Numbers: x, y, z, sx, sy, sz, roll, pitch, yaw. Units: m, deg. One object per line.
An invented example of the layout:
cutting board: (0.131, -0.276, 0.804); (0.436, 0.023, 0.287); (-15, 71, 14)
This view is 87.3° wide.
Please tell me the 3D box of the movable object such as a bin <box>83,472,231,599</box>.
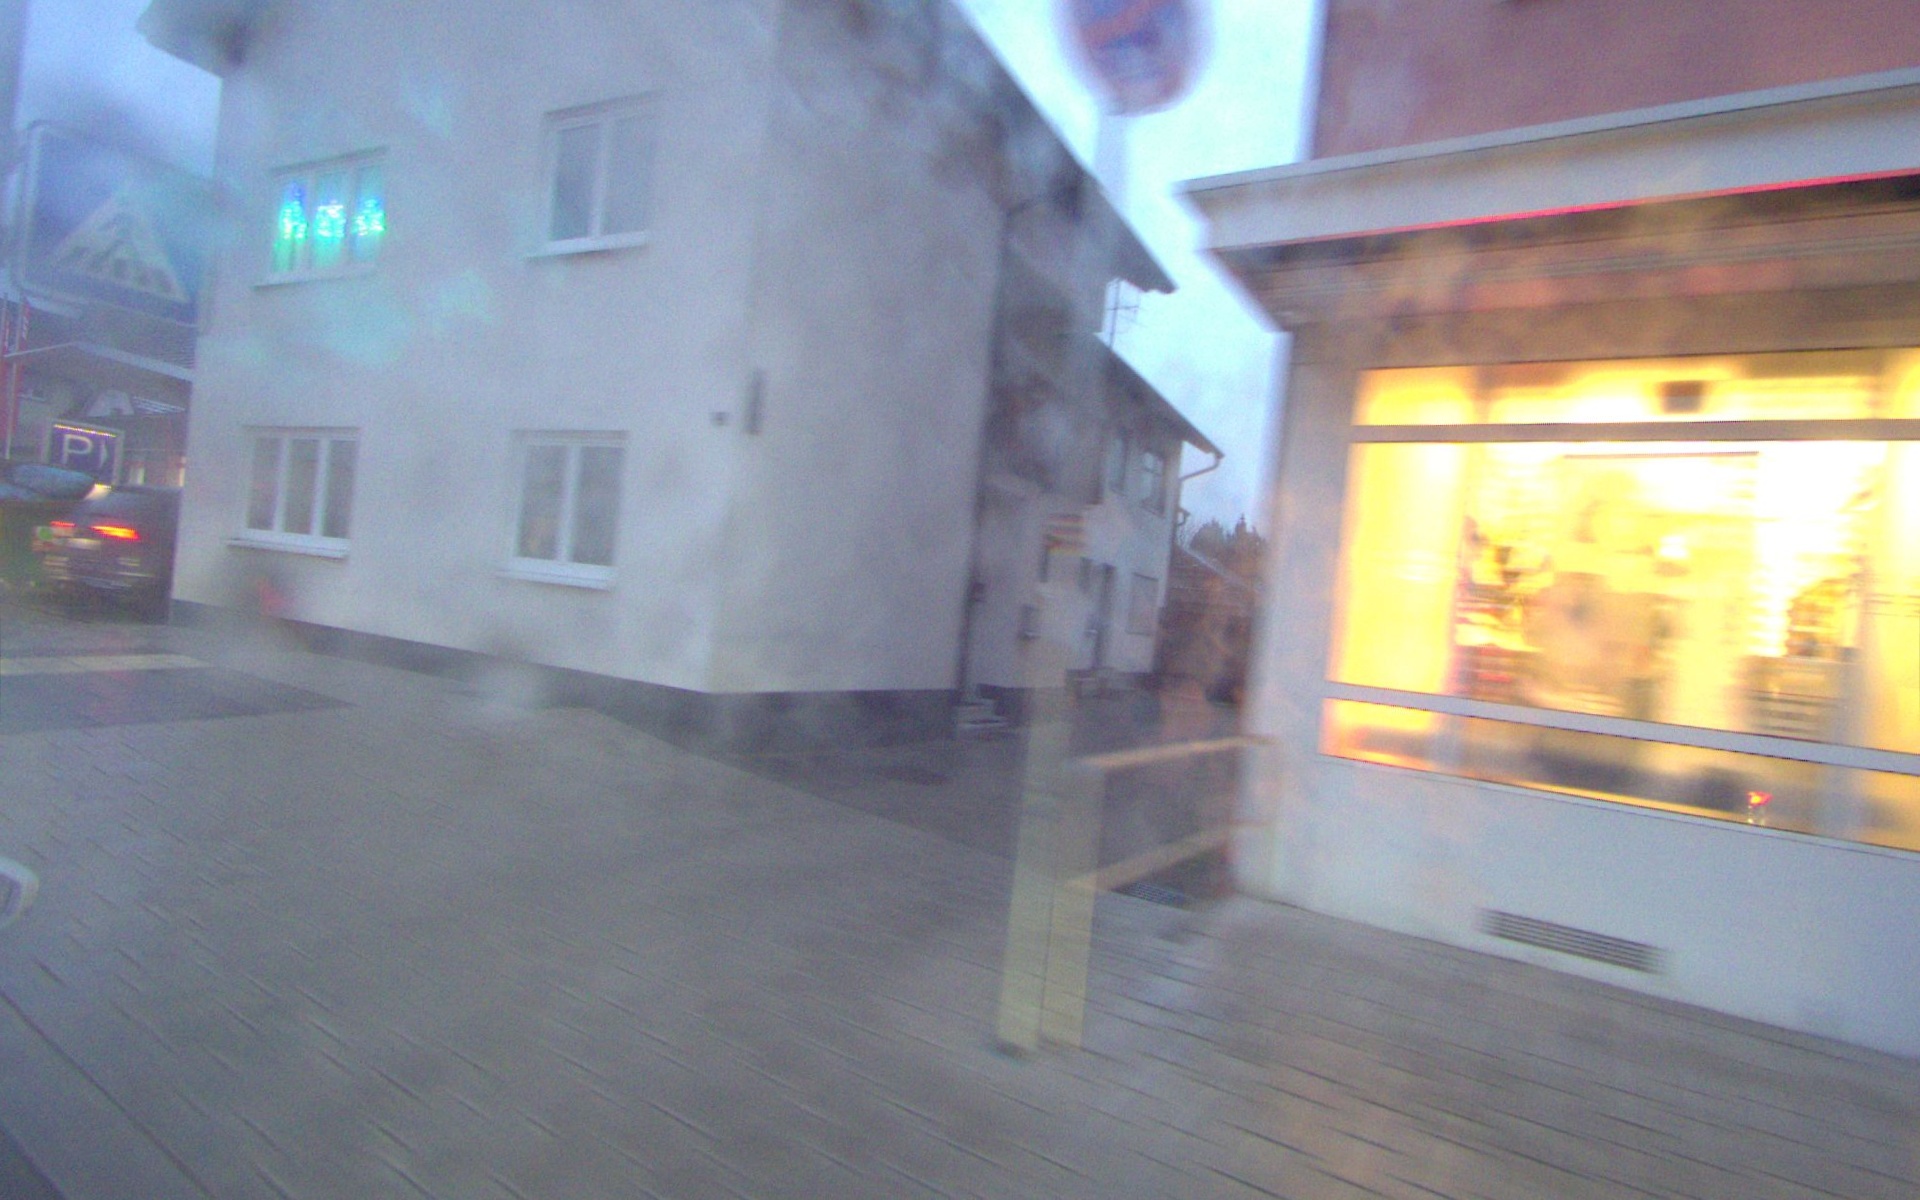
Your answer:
movable object such as a bin: (-11.765, -0.927, 14.760); (1.165, 1.666, 1.286); (7, 2, 30)

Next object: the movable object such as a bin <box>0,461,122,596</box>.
movable object such as a bin: (-12.520, -0.973, 13.624); (1.240, 1.665, 1.394); (7, 2, 30)

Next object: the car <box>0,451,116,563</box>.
car: (-20.260, -2.056, 20.711); (1.972, 2.076, 4.083); (7, 1, 41)

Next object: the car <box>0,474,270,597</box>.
car: (-13.812, -1.022, 16.197); (1.883, 1.504, 3.988); (6, -1, 35)

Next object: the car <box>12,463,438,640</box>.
car: (-9.505, -0.543, 13.353); (1.966, 1.643, 3.995); (7, -2, 31)
